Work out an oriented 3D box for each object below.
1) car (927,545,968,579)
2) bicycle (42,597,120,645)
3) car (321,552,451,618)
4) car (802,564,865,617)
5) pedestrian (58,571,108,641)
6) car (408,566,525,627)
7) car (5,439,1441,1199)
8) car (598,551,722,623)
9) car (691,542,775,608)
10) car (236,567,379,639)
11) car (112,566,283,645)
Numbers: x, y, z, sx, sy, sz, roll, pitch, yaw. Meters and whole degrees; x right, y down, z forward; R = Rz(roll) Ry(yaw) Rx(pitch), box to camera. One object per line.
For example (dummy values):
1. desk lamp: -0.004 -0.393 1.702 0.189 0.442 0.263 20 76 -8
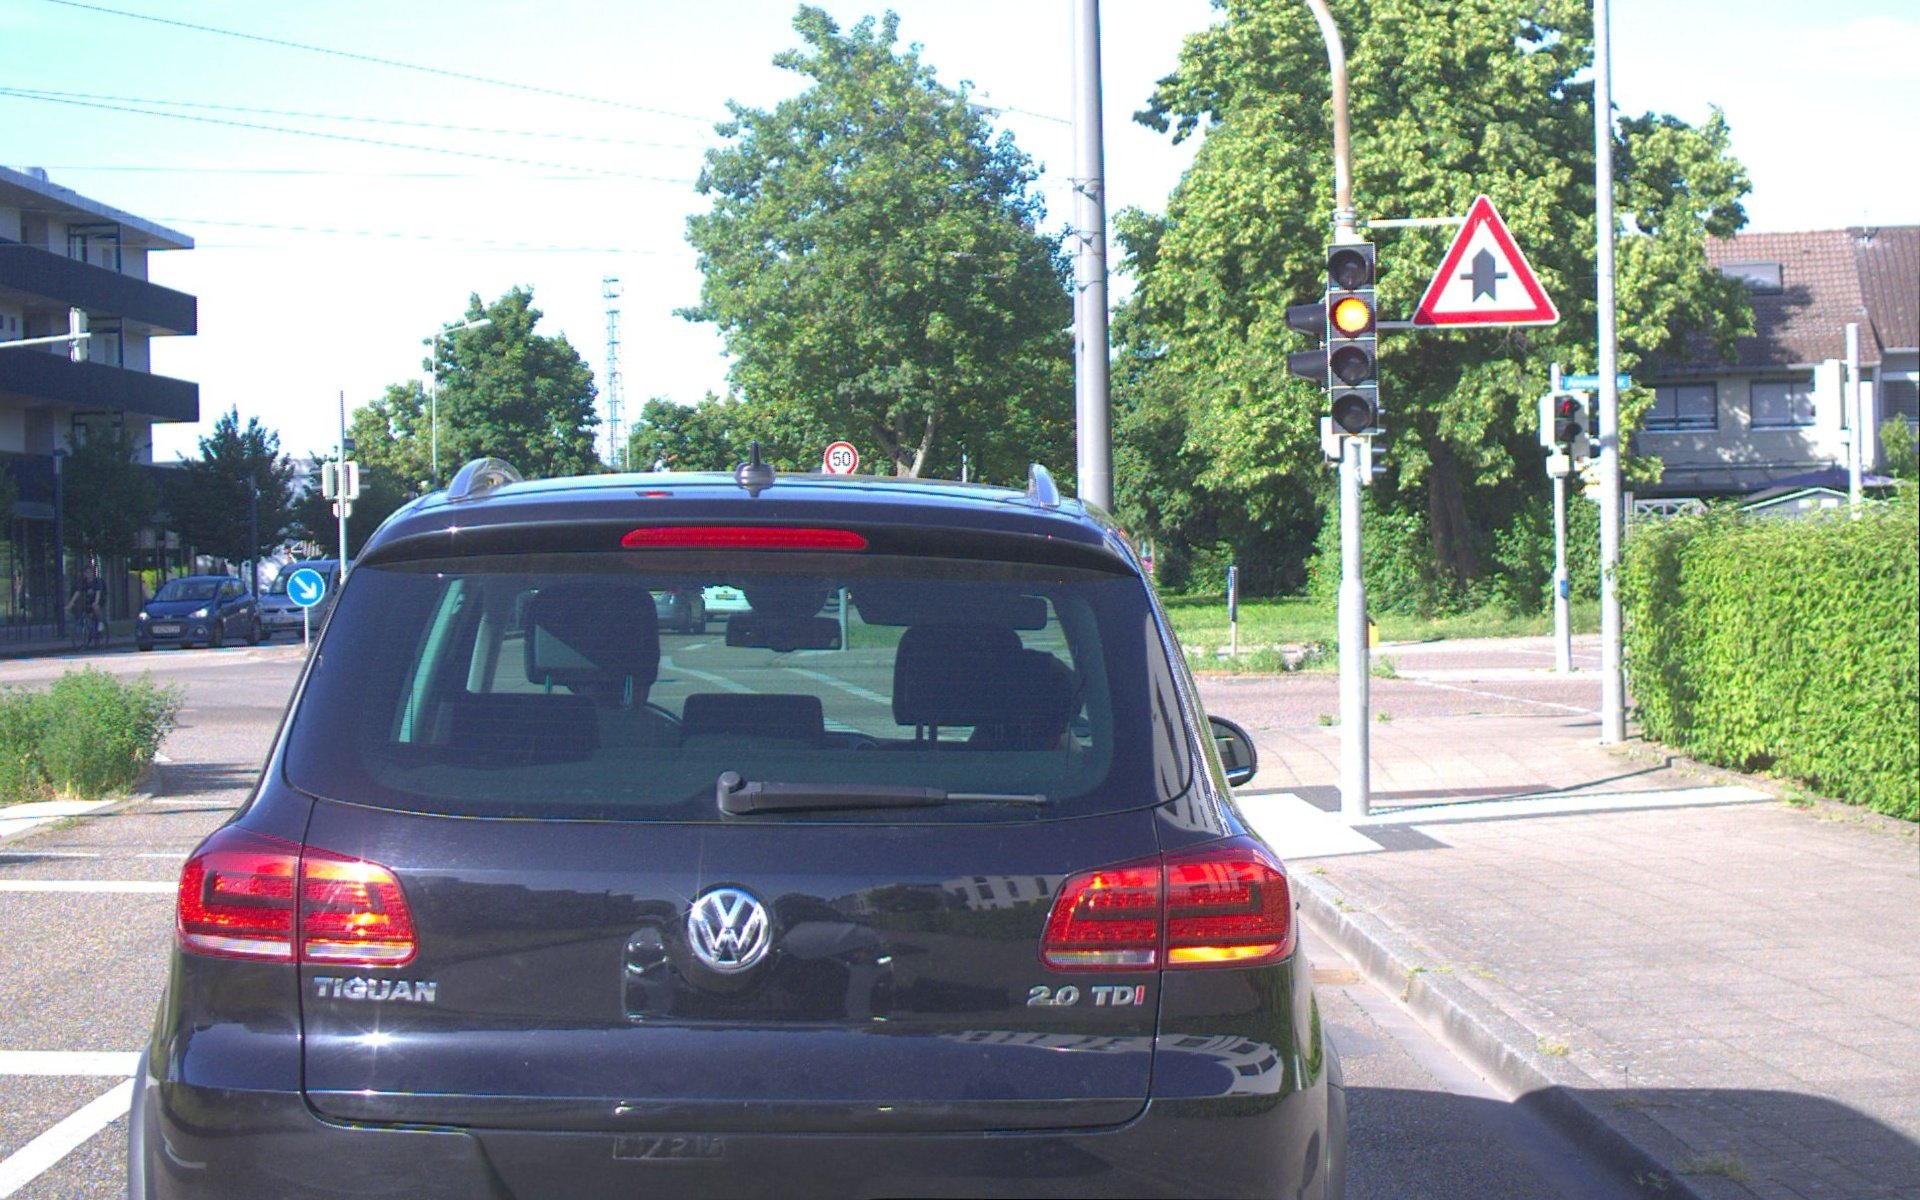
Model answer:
1. car: -0.631 -1.929 173.441 1.993 1.678 4.000 1 1 1
2. bicycle: -18.753 0.433 73.407 0.771 0.986 2.431 1 1 7
3. car: -14.171 -0.390 85.122 1.994 1.569 4.338 1 1 7
4. car: -4.528 -0.361 123.301 1.993 1.830 4.000 1 1 1
5. pedestrian: -18.740 0.129 73.480 0.711 1.468 0.953 1 0 7
6. car: -13.081 -0.108 91.425 1.994 1.569 4.338 1 1 7
7. car: -0.337 0.597 6.509 1.869 1.632 4.000 1 1 -1
8. car: -6.558 -0.304 75.539 1.864 1.480 4.109 -1 1 7
9. car: -6.138 -0.690 93.236 1.864 1.714 3.686 -1 1 2
10. car: -14.916 0.043 78.810 1.994 1.569 4.338 1 1 7
11. car: -15.798 0.090 71.471 1.994 1.569 4.337 1 1 9
